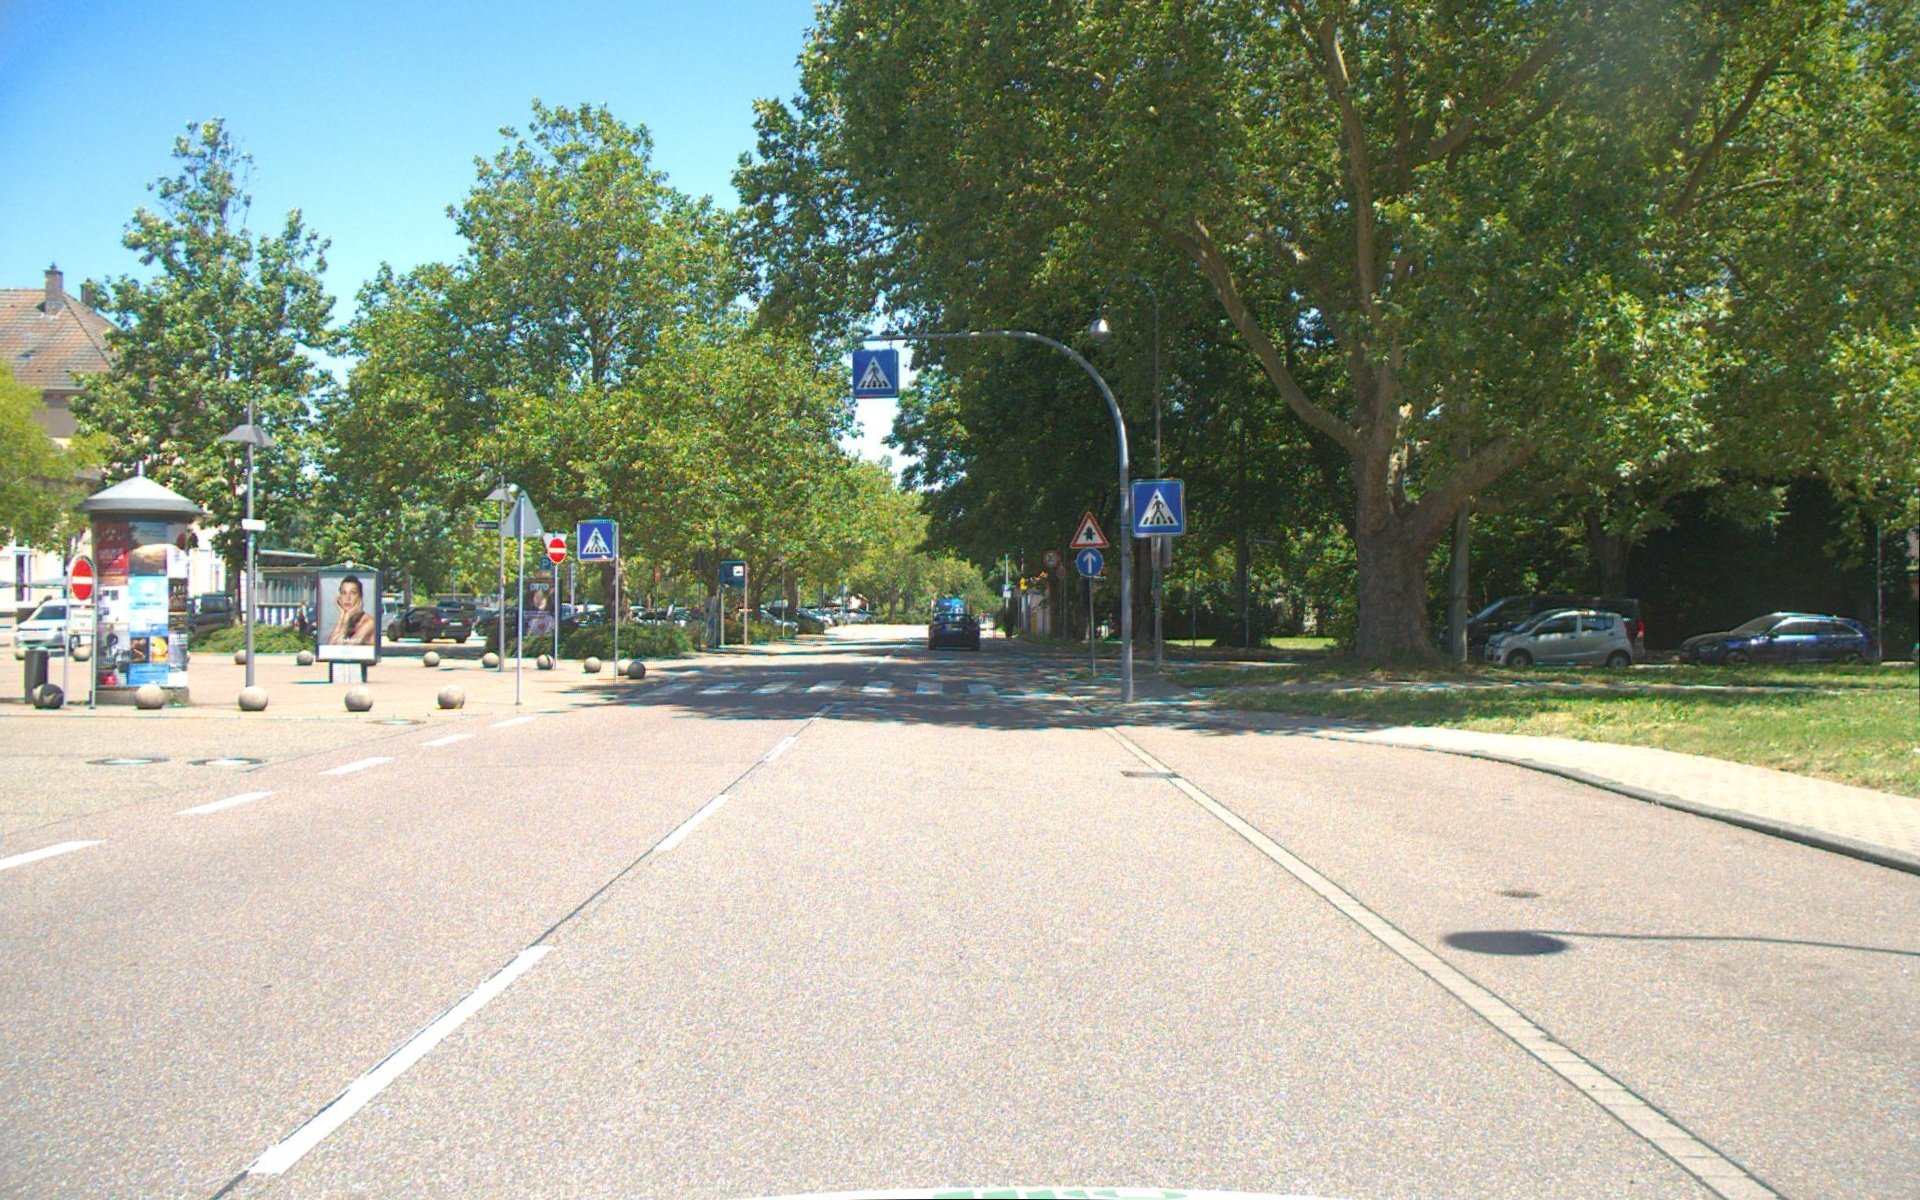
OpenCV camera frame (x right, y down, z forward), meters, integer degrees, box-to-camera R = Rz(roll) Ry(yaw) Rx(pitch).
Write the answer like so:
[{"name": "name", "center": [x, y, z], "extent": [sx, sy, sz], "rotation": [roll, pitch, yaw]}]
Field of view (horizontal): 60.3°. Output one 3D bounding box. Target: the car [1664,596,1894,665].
[{"name": "car", "center": [20.271, 0.737, 41.107], "extent": [4.723, 1.636, 2.001], "rotation": [0, 0, 3]}]

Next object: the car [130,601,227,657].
[{"name": "car", "center": [-30.424, 1.097, 64.513], "extent": [1.953, 2.049, 3.999], "rotation": [0, 1, -1]}]

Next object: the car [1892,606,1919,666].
[{"name": "car", "center": [25.736, 0.916, 41.307], "extent": [3.801, 1.479, 2.000], "rotation": [1, -1, 1]}]

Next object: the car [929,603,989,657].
[{"name": "car", "center": [-0.058, 1.085, 60.247], "extent": [2.082, 1.881, 4.047], "rotation": [1, -1, -1]}]

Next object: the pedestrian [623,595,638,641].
[{"name": "pedestrian", "center": [-14.661, 0.803, 73.619], "extent": [0.614, 2.049, 0.568], "rotation": [0, -2, -17]}]

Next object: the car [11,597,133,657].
[{"name": "car", "center": [-30.550, 0.920, 57.071], "extent": [1.715, 1.951, 4.774], "rotation": [0, -1, -1]}]

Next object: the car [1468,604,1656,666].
[{"name": "car", "center": [15.052, 0.865, 41.509], "extent": [4.019, 1.492, 2.001], "rotation": [0, 0, 2]}]

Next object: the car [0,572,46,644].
[{"name": "car", "center": [-34.298, 0.258, 58.113], "extent": [1.684, 2.511, 5.003], "rotation": [1, -1, -2]}]

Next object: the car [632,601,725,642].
[{"name": "car", "center": [-12.869, 0.997, 75.566], "extent": [3.926, 1.813, 1.989], "rotation": [0, -2, -19]}]

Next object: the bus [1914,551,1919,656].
[{"name": "bus", "center": [33.924, 0.060, 47.220], "extent": [12.126, 3.030, 2.268], "rotation": [0, -1, -1]}]
